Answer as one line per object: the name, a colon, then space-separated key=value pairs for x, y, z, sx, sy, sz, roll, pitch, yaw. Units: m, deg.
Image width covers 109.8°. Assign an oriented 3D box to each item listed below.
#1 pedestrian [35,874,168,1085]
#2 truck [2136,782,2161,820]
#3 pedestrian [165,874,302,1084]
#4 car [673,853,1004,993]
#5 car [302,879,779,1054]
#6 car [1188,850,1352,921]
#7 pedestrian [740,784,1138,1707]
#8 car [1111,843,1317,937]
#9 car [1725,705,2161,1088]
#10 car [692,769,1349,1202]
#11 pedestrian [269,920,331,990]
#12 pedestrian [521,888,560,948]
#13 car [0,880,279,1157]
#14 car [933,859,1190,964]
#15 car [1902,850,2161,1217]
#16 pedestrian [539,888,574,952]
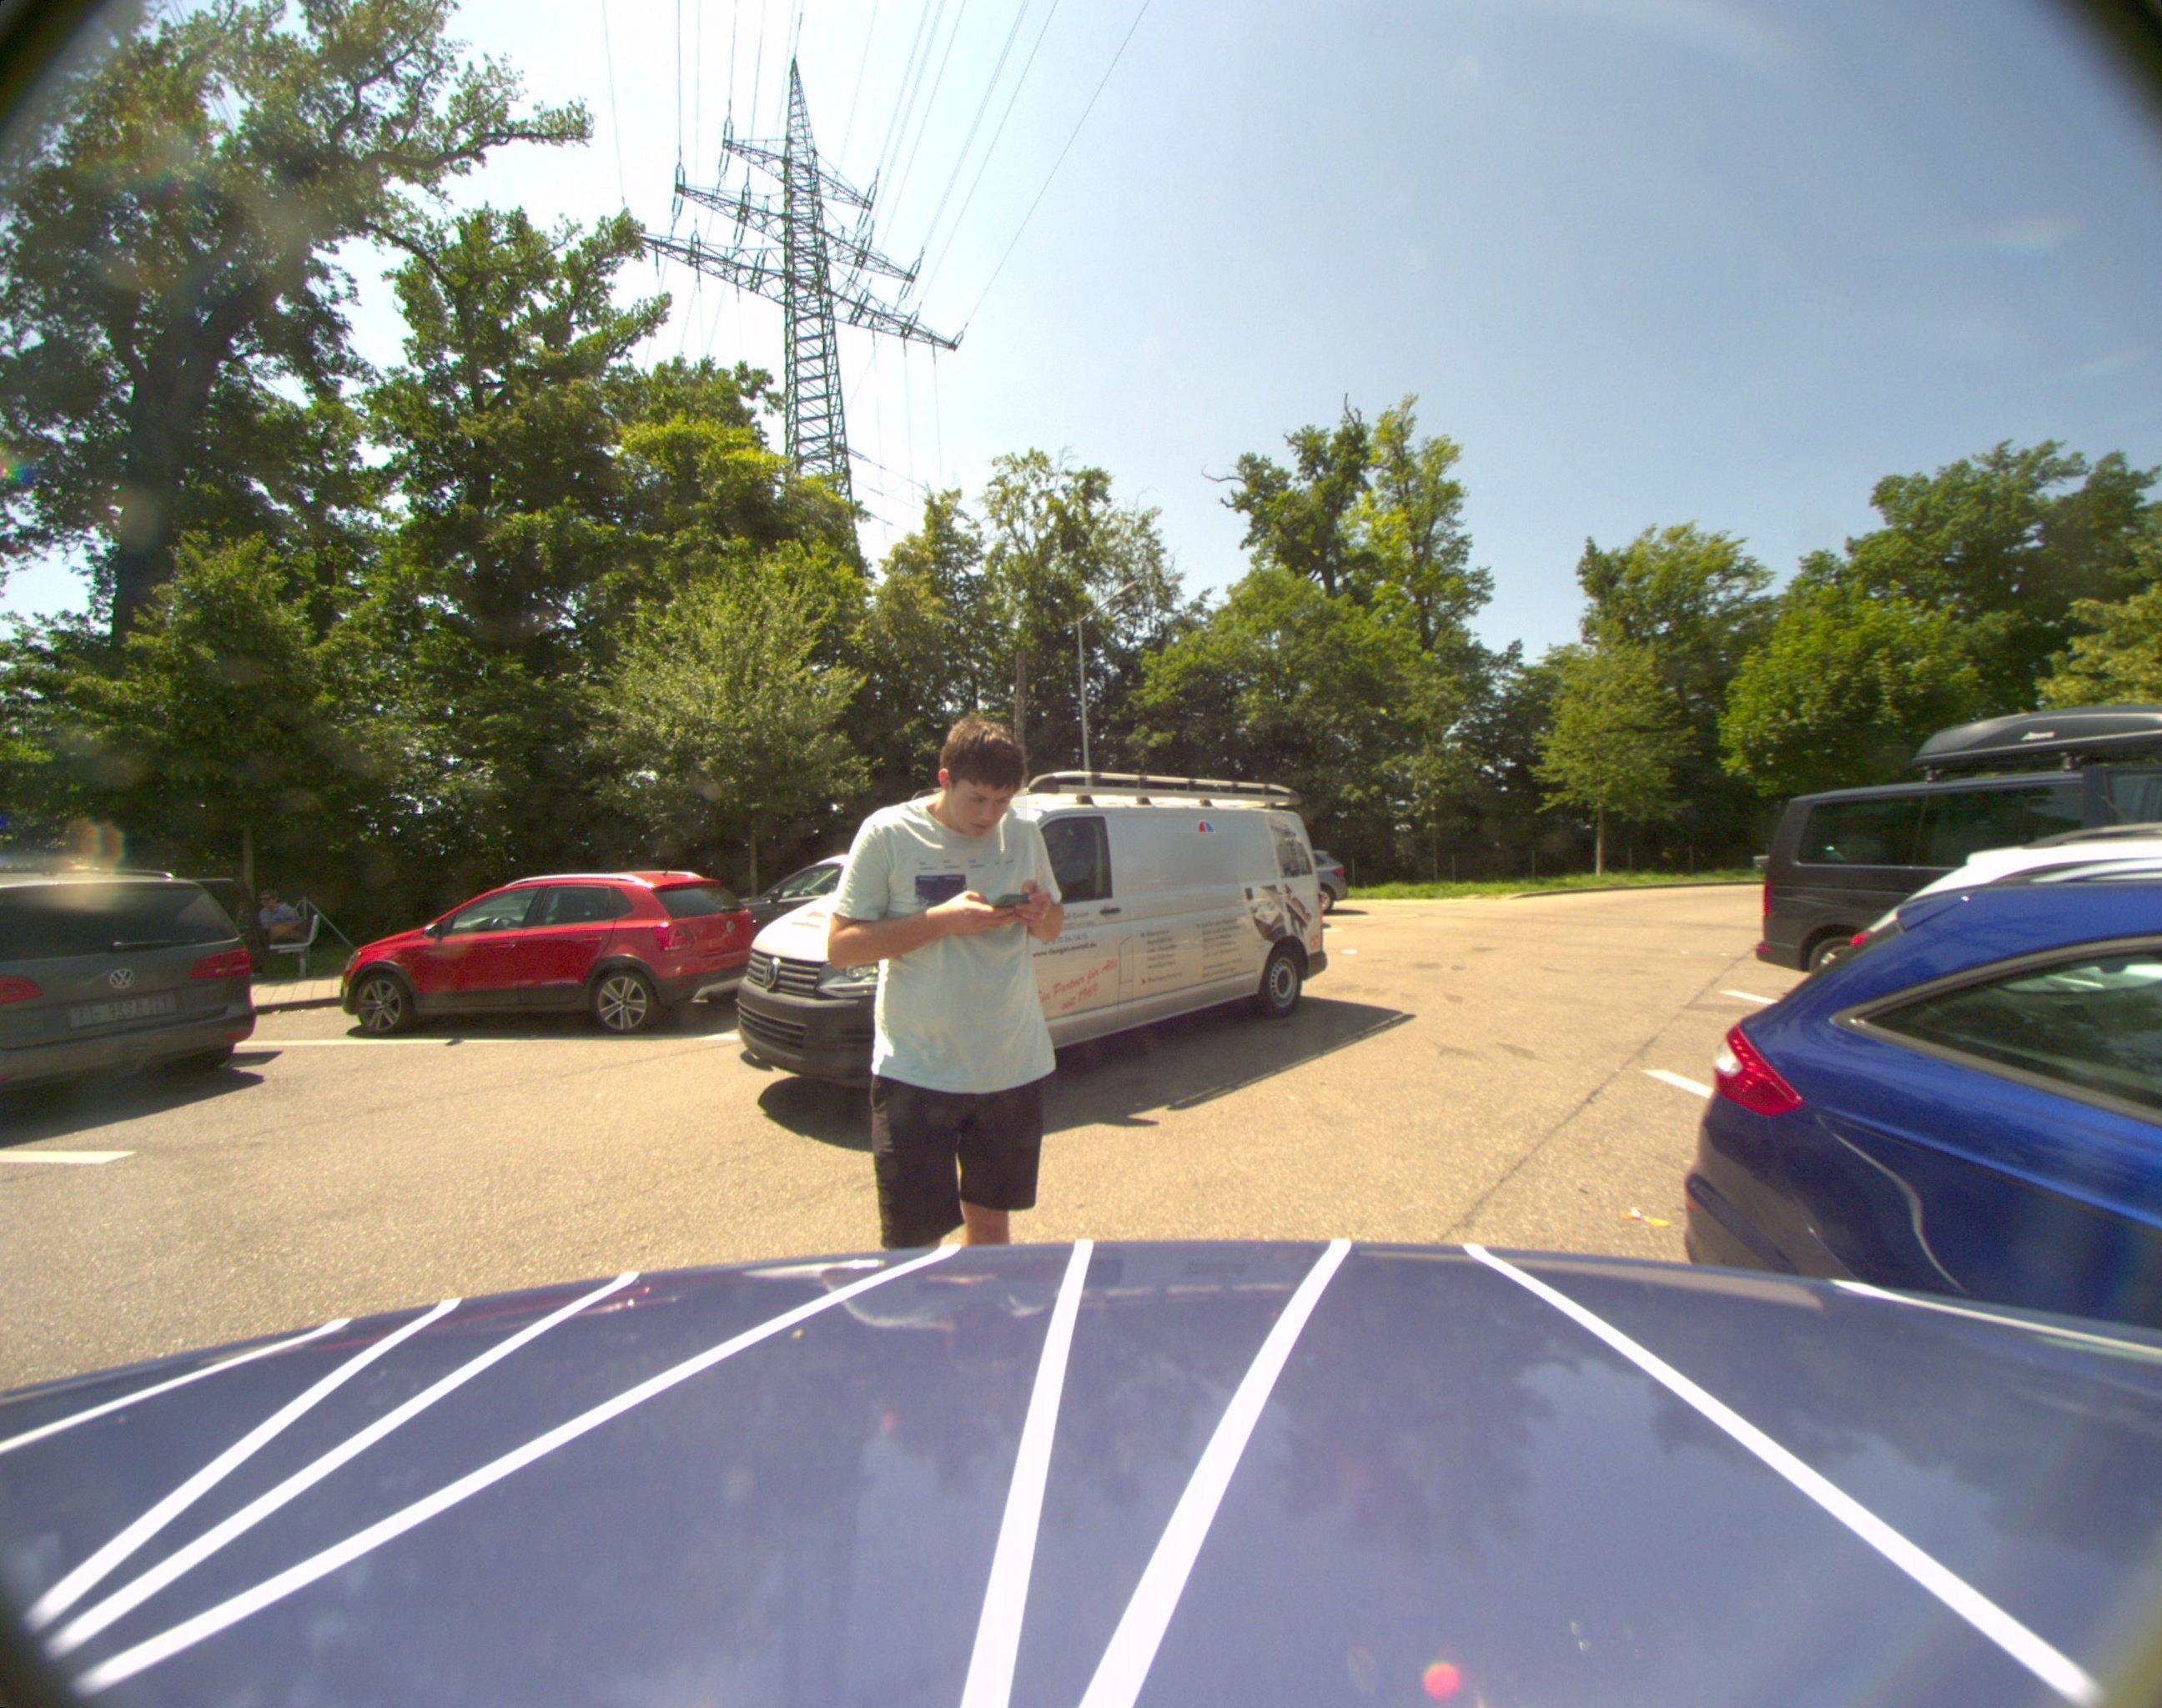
pedestrian: x=-8.434 y=1.049 z=6.555 sx=0.436 sy=1.712 sz=0.511 roll=-2 pitch=1 yaw=17
truck: x=40.248 y=-1.982 z=27.062 sx=1.168 sy=1.367 sz=2.882 roll=-2 pitch=-1 yaw=-19
pedestrian: x=-7.379 y=1.048 z=6.632 sx=0.481 sy=1.712 sz=0.589 roll=-2 pitch=1 yaw=22
car: x=-3.103 y=0.867 z=10.294 sx=3.866 sy=1.607 sz=1.709 roll=-2 pitch=0 yaw=0
car: x=-5.253 y=1.065 z=7.650 sx=3.745 sy=1.458 sz=1.621 roll=-2 pitch=0 yaw=7
car: x=4.396 y=0.730 z=18.116 sx=3.585 sy=1.493 sz=1.707 roll=-2 pitch=1 yaw=8
pedestrian: x=-0.368 y=0.774 z=1.909 sx=0.741 sy=1.818 sz=0.613 roll=-2 pitch=0 yaw=-34
car: x=2.602 y=0.697 z=15.407 sx=3.850 sy=1.678 sz=1.755 roll=-2 pitch=0 yaw=4
car: x=7.307 y=0.241 z=5.355 sx=1.788 sy=2.304 sz=4.084 roll=-2 pitch=0 yaw=-5
car: x=0.059 y=0.601 z=6.240 sx=5.445 sy=2.092 sz=1.839 roll=-2 pitch=1 yaw=-45
pedestrian: x=-10.818 y=1.382 z=10.542 sx=0.503 sy=0.874 sz=0.512 roll=-3 pitch=1 yaw=-39
pedestrian: x=-10.962 y=1.293 z=15.415 sx=0.413 sy=1.186 sz=0.443 roll=-2 pitch=1 yaw=12
car: x=-8.354 y=1.087 z=5.425 sx=3.903 sy=1.607 sz=1.705 roll=-2 pitch=1 yaw=11
car: x=-0.236 y=0.874 z=12.181 sx=3.773 sy=1.445 sz=1.848 roll=-2 pitch=0 yaw=4
car: x=4.718 y=0.668 z=2.183 sx=1.344 sy=1.352 sz=3.114 roll=-2 pitch=0 yaw=1
pedestrian: x=-10.145 y=1.268 z=14.701 sx=0.366 sy=1.186 sz=0.356 roll=-2 pitch=1 yaw=21
